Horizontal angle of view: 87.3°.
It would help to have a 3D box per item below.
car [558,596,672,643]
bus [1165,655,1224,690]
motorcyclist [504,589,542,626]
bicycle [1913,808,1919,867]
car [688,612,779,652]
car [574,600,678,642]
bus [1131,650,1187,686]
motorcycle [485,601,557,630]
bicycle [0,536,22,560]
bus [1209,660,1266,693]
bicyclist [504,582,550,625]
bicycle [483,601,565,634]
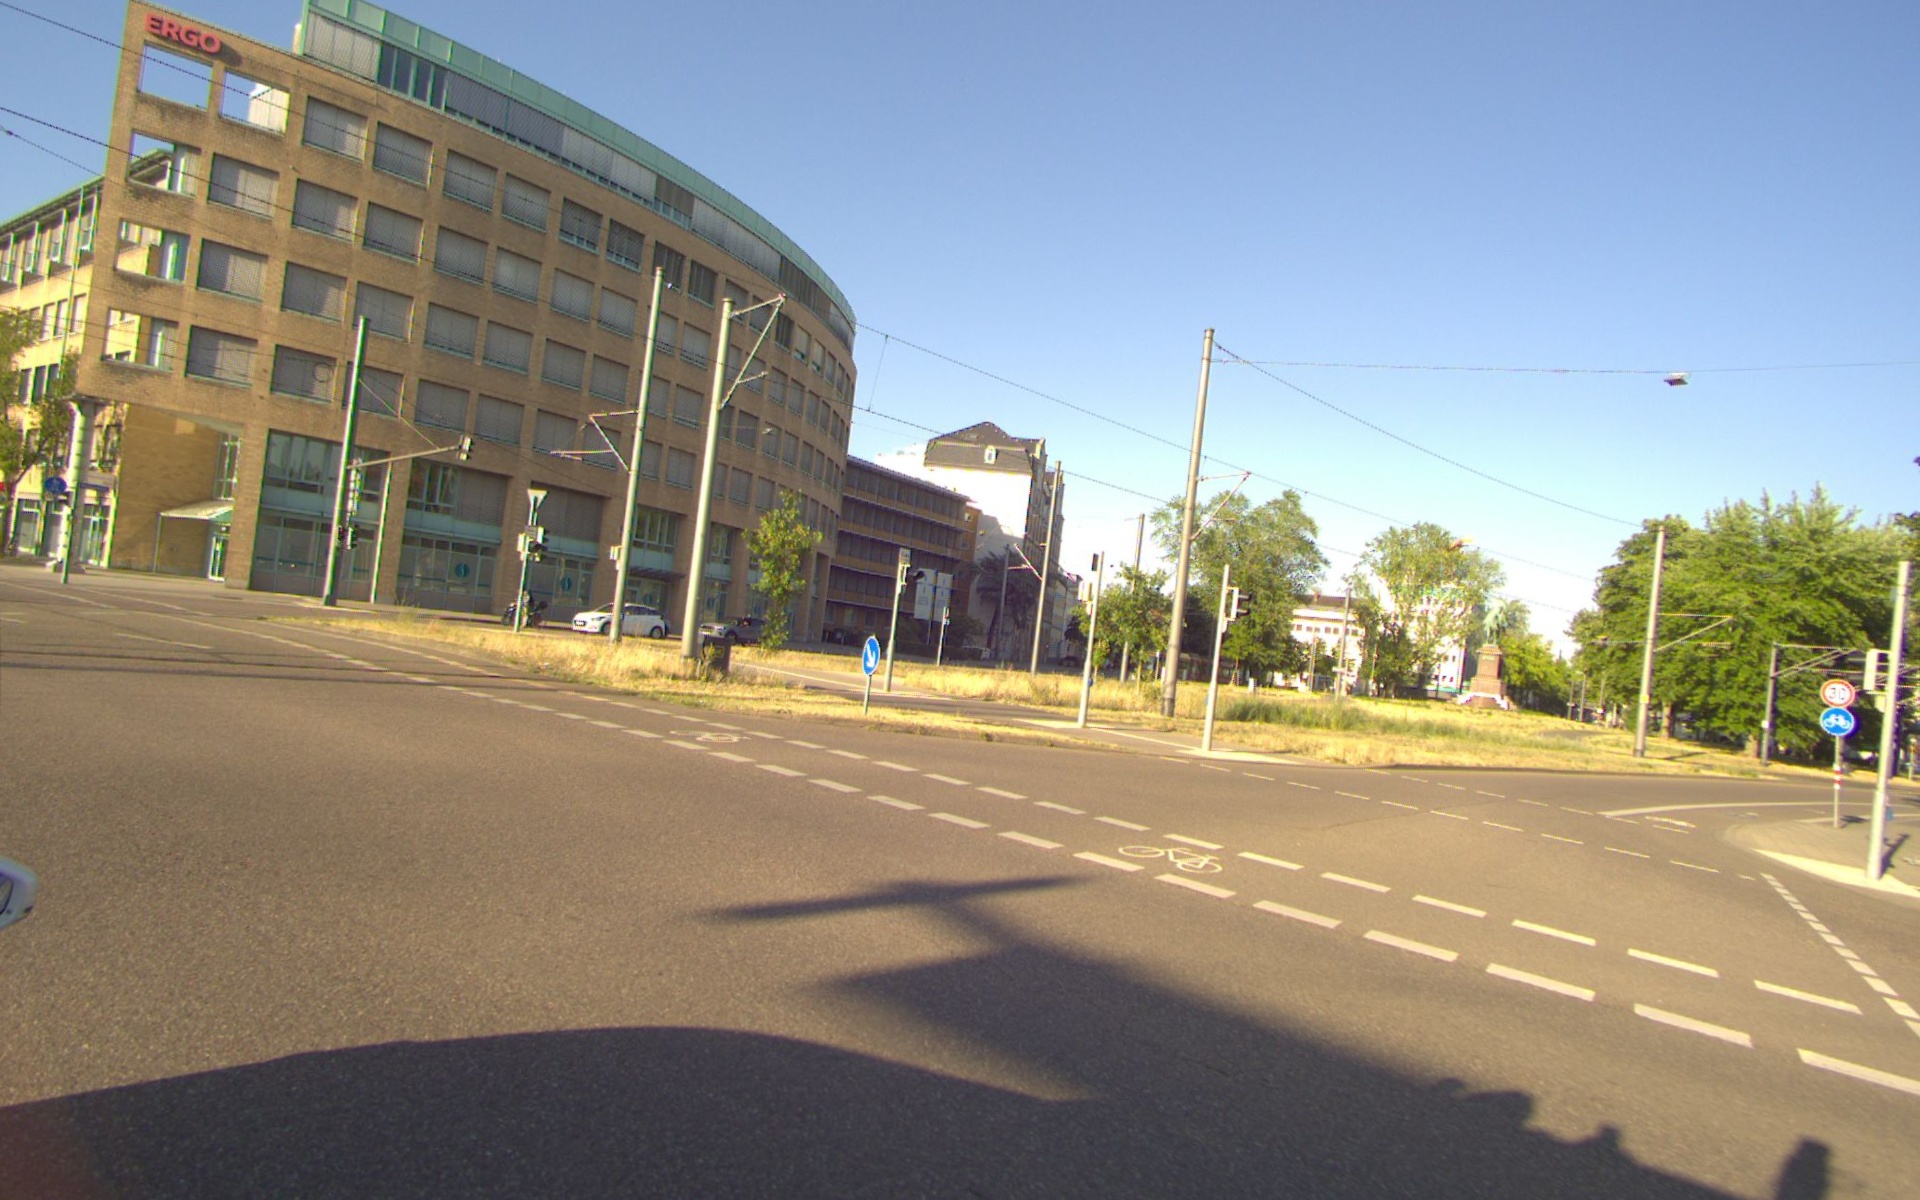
[{"bbox_3d":[-14.718,0.862,43.126,1.963,1.508,4.169,5,-3,33],"label":"car"},{"bbox_3d":[27.158,8.413,116.173,2.317,3.246,11.052,5,-3,36],"label":"bus"},{"bbox_3d":[-19.500,0.331,44.890,1.015,1.452,1.066,5,-2,34],"label":"motorcyclist"},{"bbox_3d":[15.588,3.761,15.680,0.584,1.129,1.973,7,0,32],"label":"bicycle"},{"bbox_3d":[-10.931,1.571,48.789,1.792,1.508,4.057,5,-3,34],"label":"car"},{"bbox_3d":[-16.384,1.065,49.542,1.956,1.555,4.485,5,-3,36],"label":"car"},{"bbox_3d":[21.283,7.313,106.917,2.370,3.246,11.110,6,-3,29],"label":"bus"},{"bbox_3d":[-19.550,0.705,44.871,1.015,0.975,2.721,5,-3,34],"label":"motorcycle"},{"bbox_3d":[-45.552,-2.500,48.030,2.048,1.006,0.647,5,-2,35],"label":"bicycle"},{"bbox_3d":[34.402,9.507,124.131,2.319,3.246,11.041,5,-3,39],"label":"bus"},{"bbox_3d":[-18.306,0.156,42.581,1.136,1.590,1.224,6,-2,34],"label":"bicyclist"},{"bbox_3d":[-18.408,0.756,42.539,1.135,1.012,2.964,6,-3,33],"label":"bicycle"}]
